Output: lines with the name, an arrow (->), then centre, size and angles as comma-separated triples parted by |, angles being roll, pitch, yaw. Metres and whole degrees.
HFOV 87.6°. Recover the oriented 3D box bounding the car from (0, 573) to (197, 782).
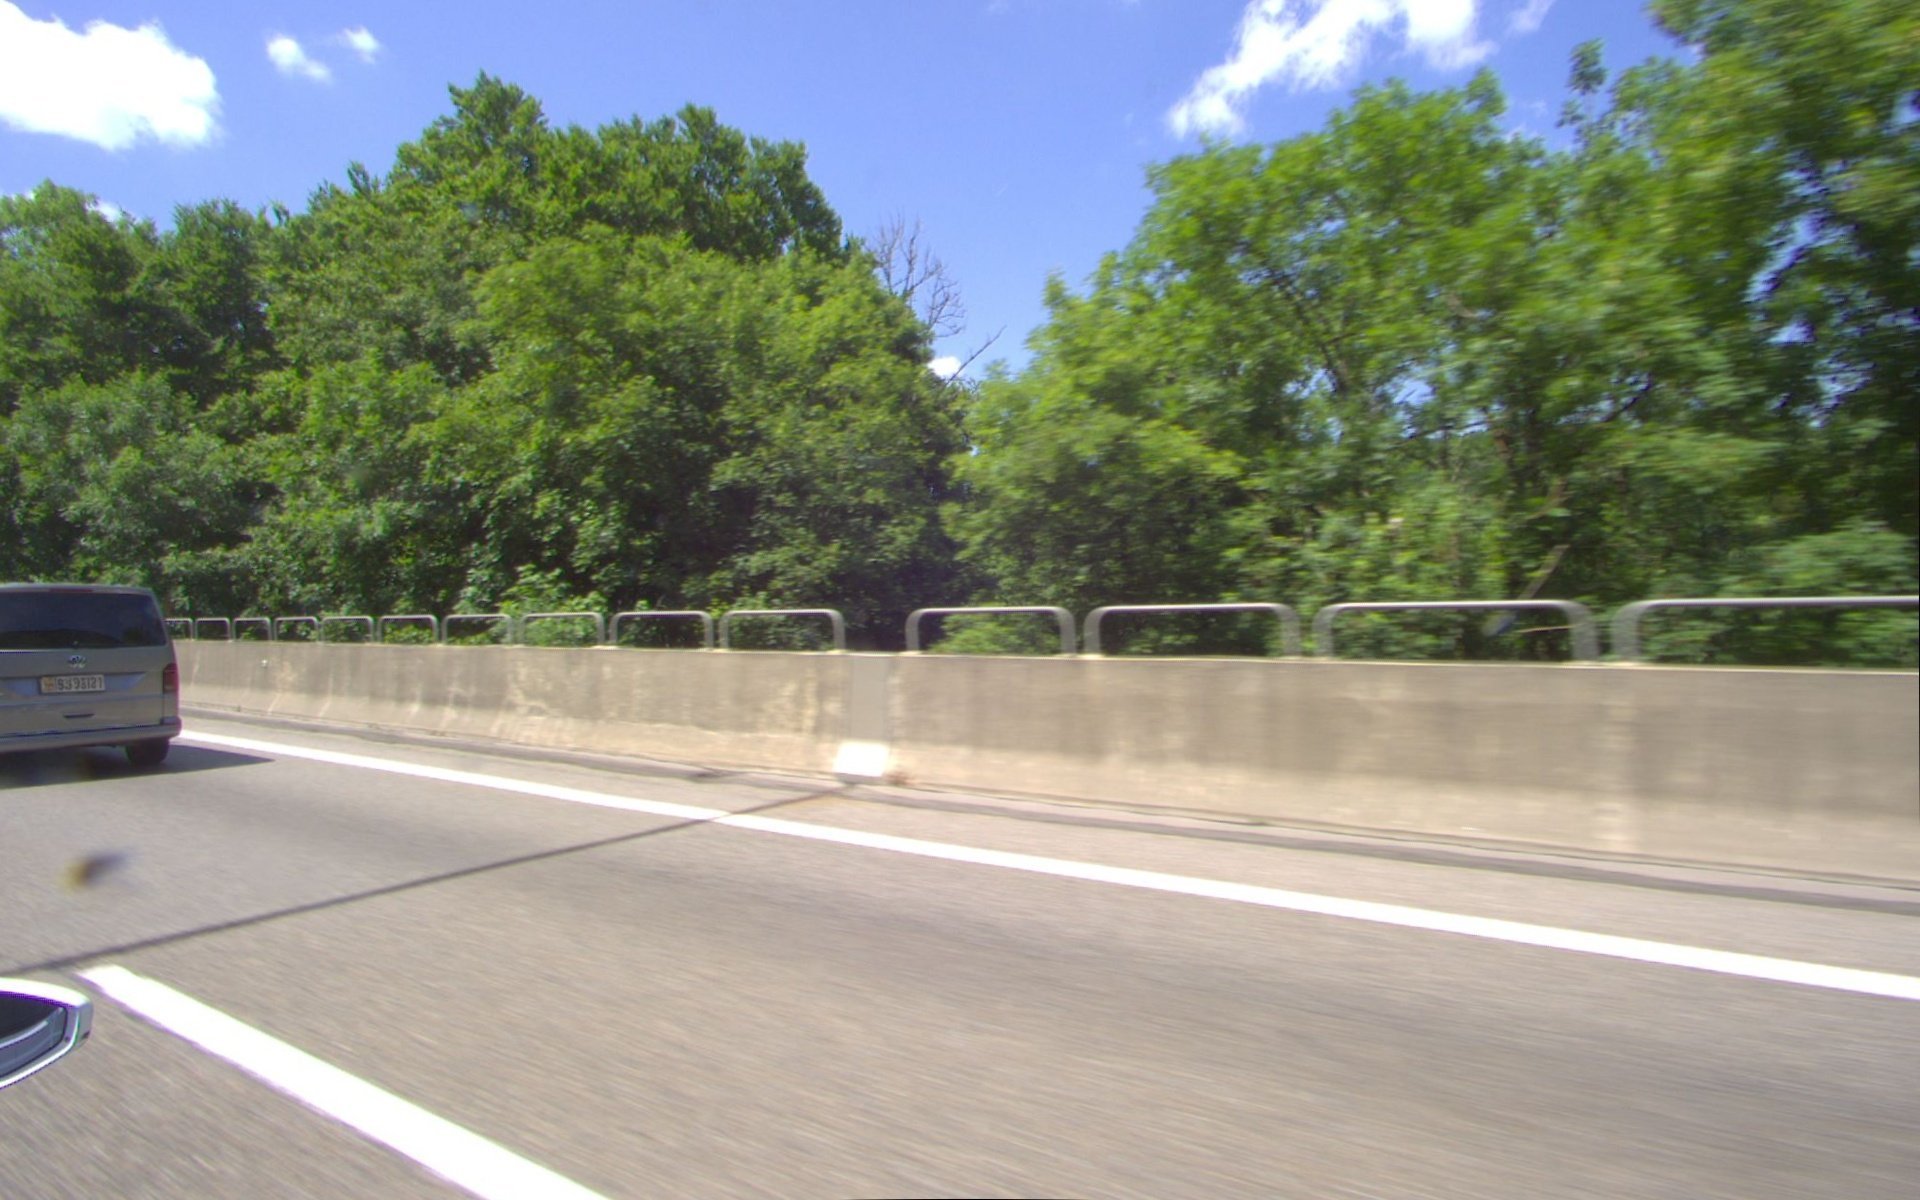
car -> -10.559, 0.767, 11.179 | 4.631, 1.956, 1.935 | -1, -1, 35
